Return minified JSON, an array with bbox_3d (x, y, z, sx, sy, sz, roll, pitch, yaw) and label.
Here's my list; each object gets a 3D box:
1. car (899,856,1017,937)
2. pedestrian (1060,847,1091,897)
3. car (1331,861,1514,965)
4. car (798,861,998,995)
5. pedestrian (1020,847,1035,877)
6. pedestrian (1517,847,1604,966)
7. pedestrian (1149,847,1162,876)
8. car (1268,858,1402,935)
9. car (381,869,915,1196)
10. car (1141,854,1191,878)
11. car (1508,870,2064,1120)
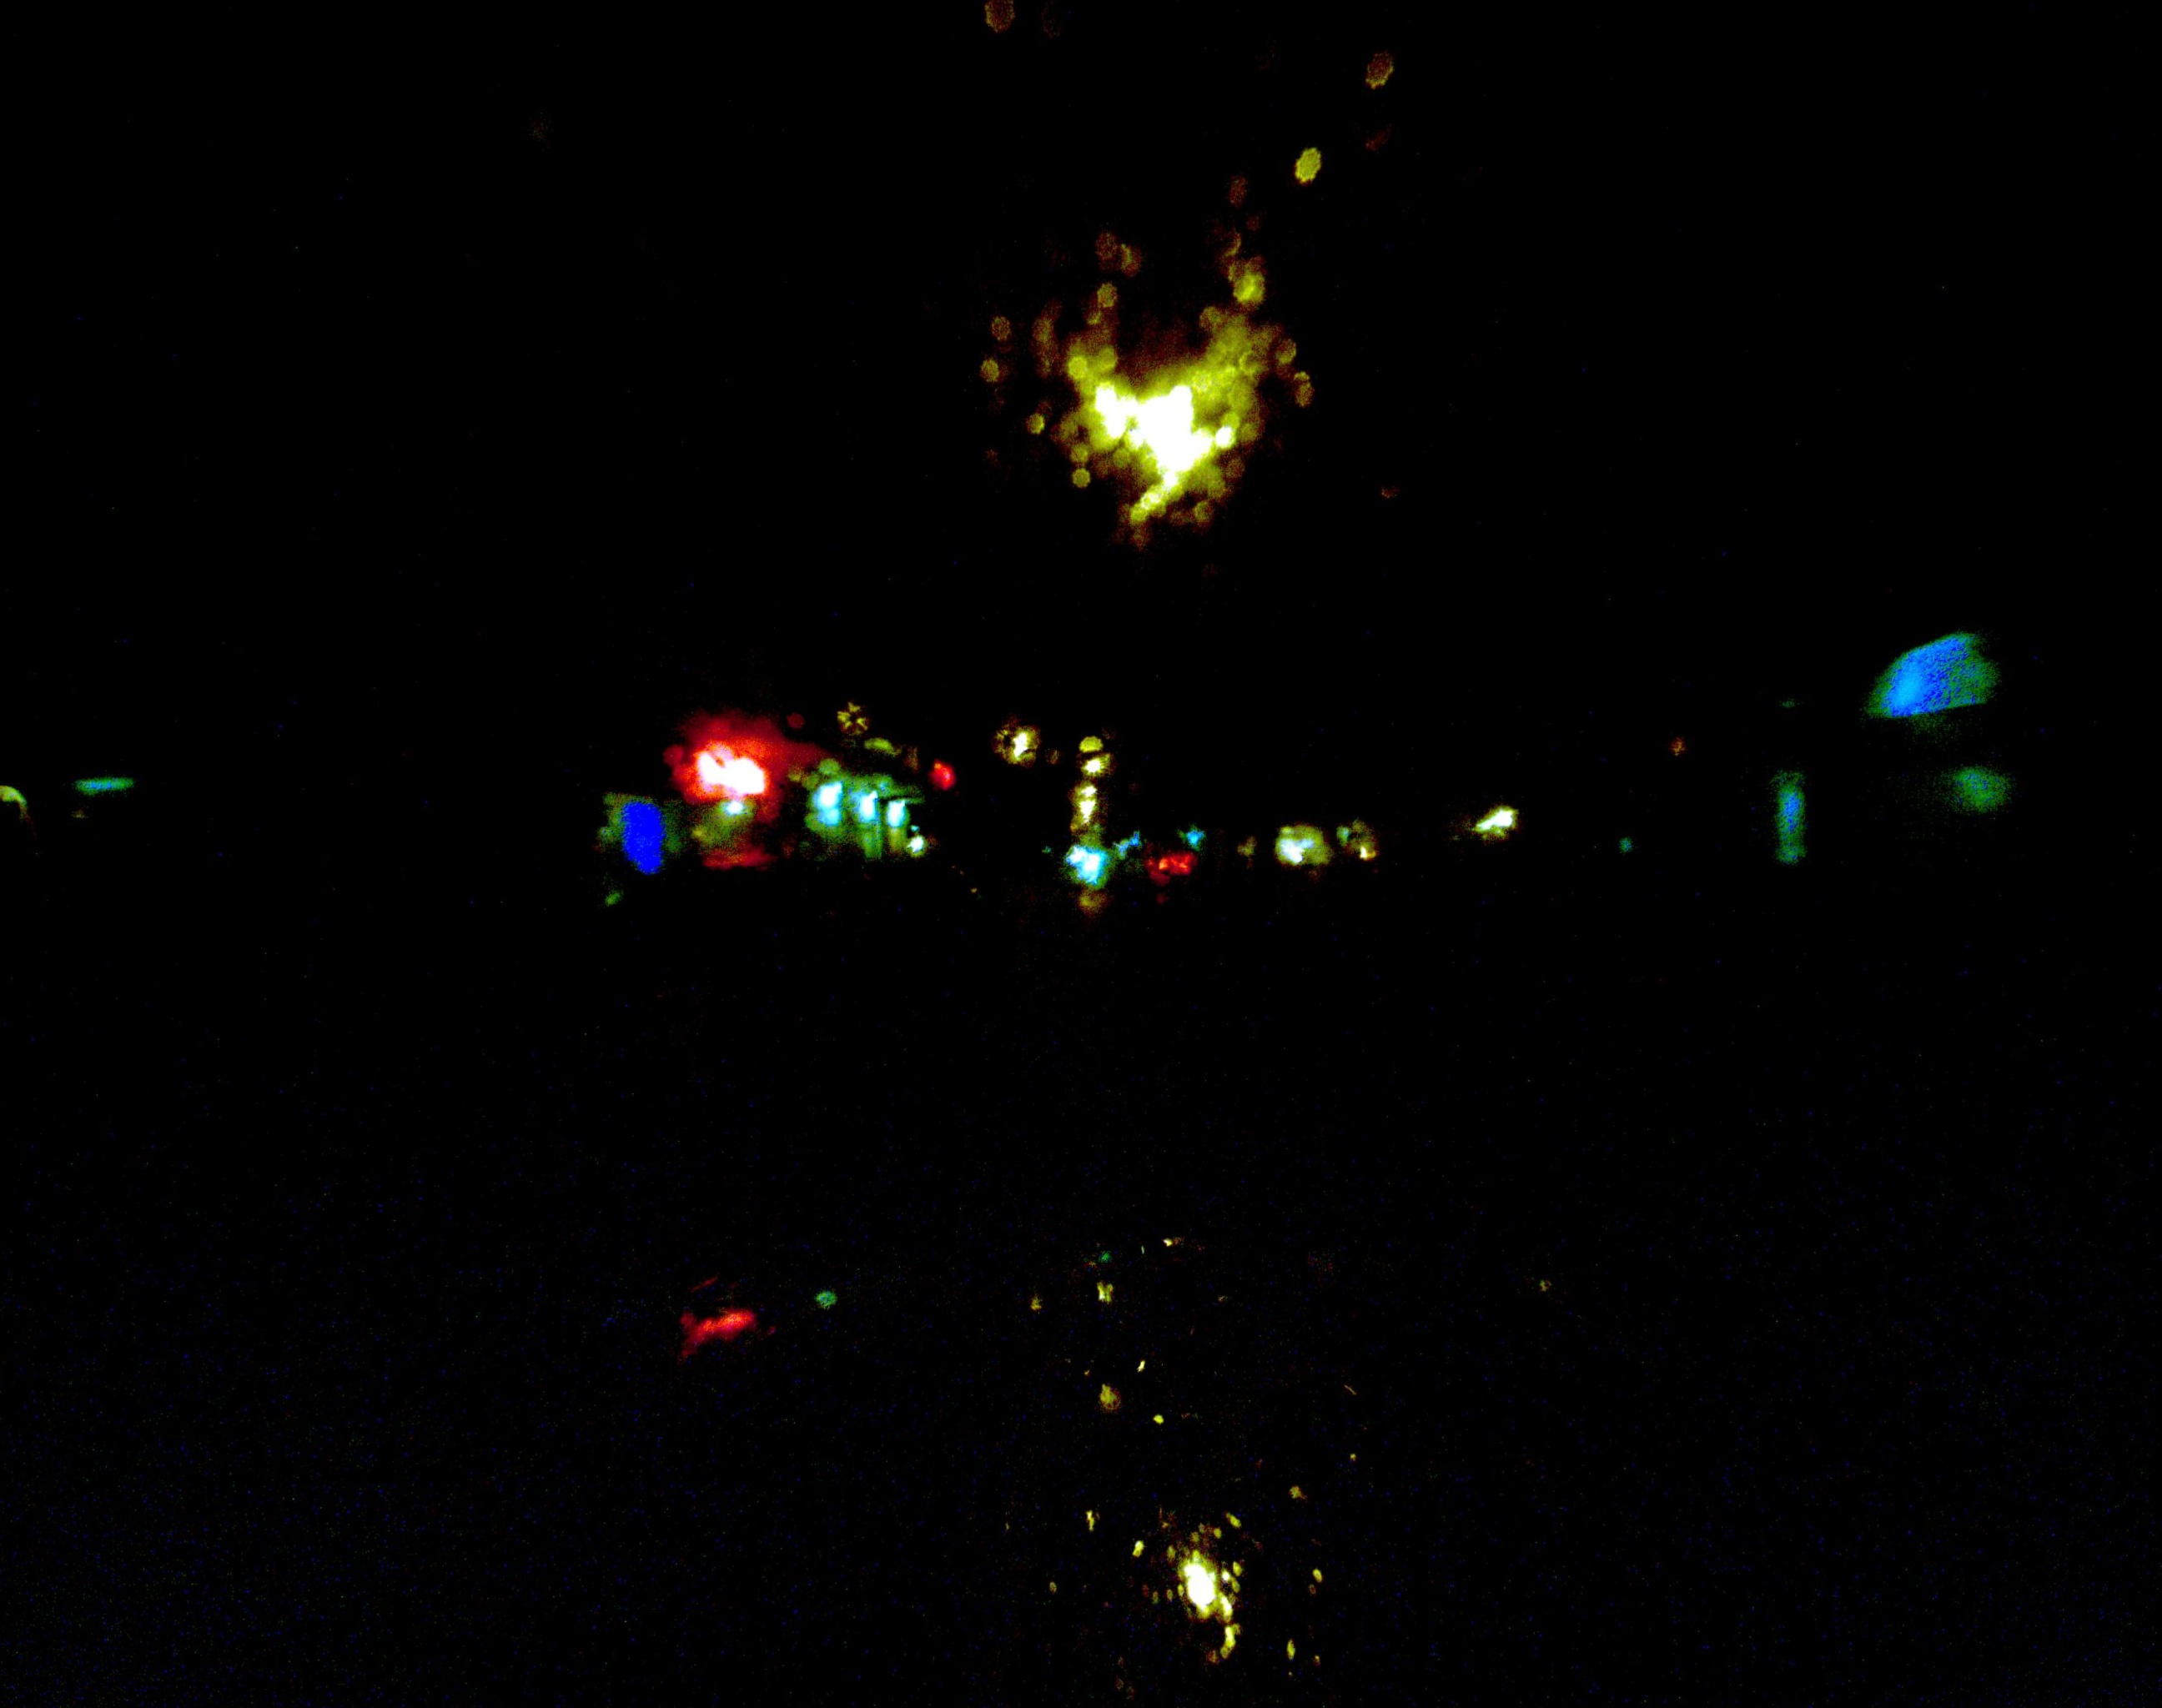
[{"bbox_3d":[-2.561,0.823,16.798,1.846,1.498,4.162,1,0,1],"label":"car"},{"bbox_3d":[-0.188,0.610,26.069,1.007,1.698,0.614,1,1,1],"label":"pedestrian"},{"bbox_3d":[5.426,0.868,12.531,1.696,1.470,3.385,0,-1,4],"label":"car"},{"bbox_3d":[-2.397,0.892,11.088,1.846,1.498,4.162,1,0,1],"label":"car"},{"bbox_3d":[-3.435,0.485,48.864,0.776,1.890,0.777,-2,1,1],"label":"pedestrian"},{"bbox_3d":[7.455,0.793,11.839,0.912,1.778,0.629,-2,1,1],"label":"pedestrian"},{"bbox_3d":[5.352,0.542,54.495,0.776,2.002,0.587,-2,1,1],"label":"pedestrian"},{"bbox_3d":[5.370,0.847,16.561,1.697,1.470,3.964,0,-1,2],"label":"car"},{"bbox_3d":[-2.613,0.928,5.858,1.689,1.498,4.162,1,0,1],"label":"car"},{"bbox_3d":[5.159,0.732,46.679,1.879,1.386,4.069,0,-1,-12],"label":"car"},{"bbox_3d":[5.268,0.904,6.349,1.531,1.445,3.383,0,0,1],"label":"car"}]
